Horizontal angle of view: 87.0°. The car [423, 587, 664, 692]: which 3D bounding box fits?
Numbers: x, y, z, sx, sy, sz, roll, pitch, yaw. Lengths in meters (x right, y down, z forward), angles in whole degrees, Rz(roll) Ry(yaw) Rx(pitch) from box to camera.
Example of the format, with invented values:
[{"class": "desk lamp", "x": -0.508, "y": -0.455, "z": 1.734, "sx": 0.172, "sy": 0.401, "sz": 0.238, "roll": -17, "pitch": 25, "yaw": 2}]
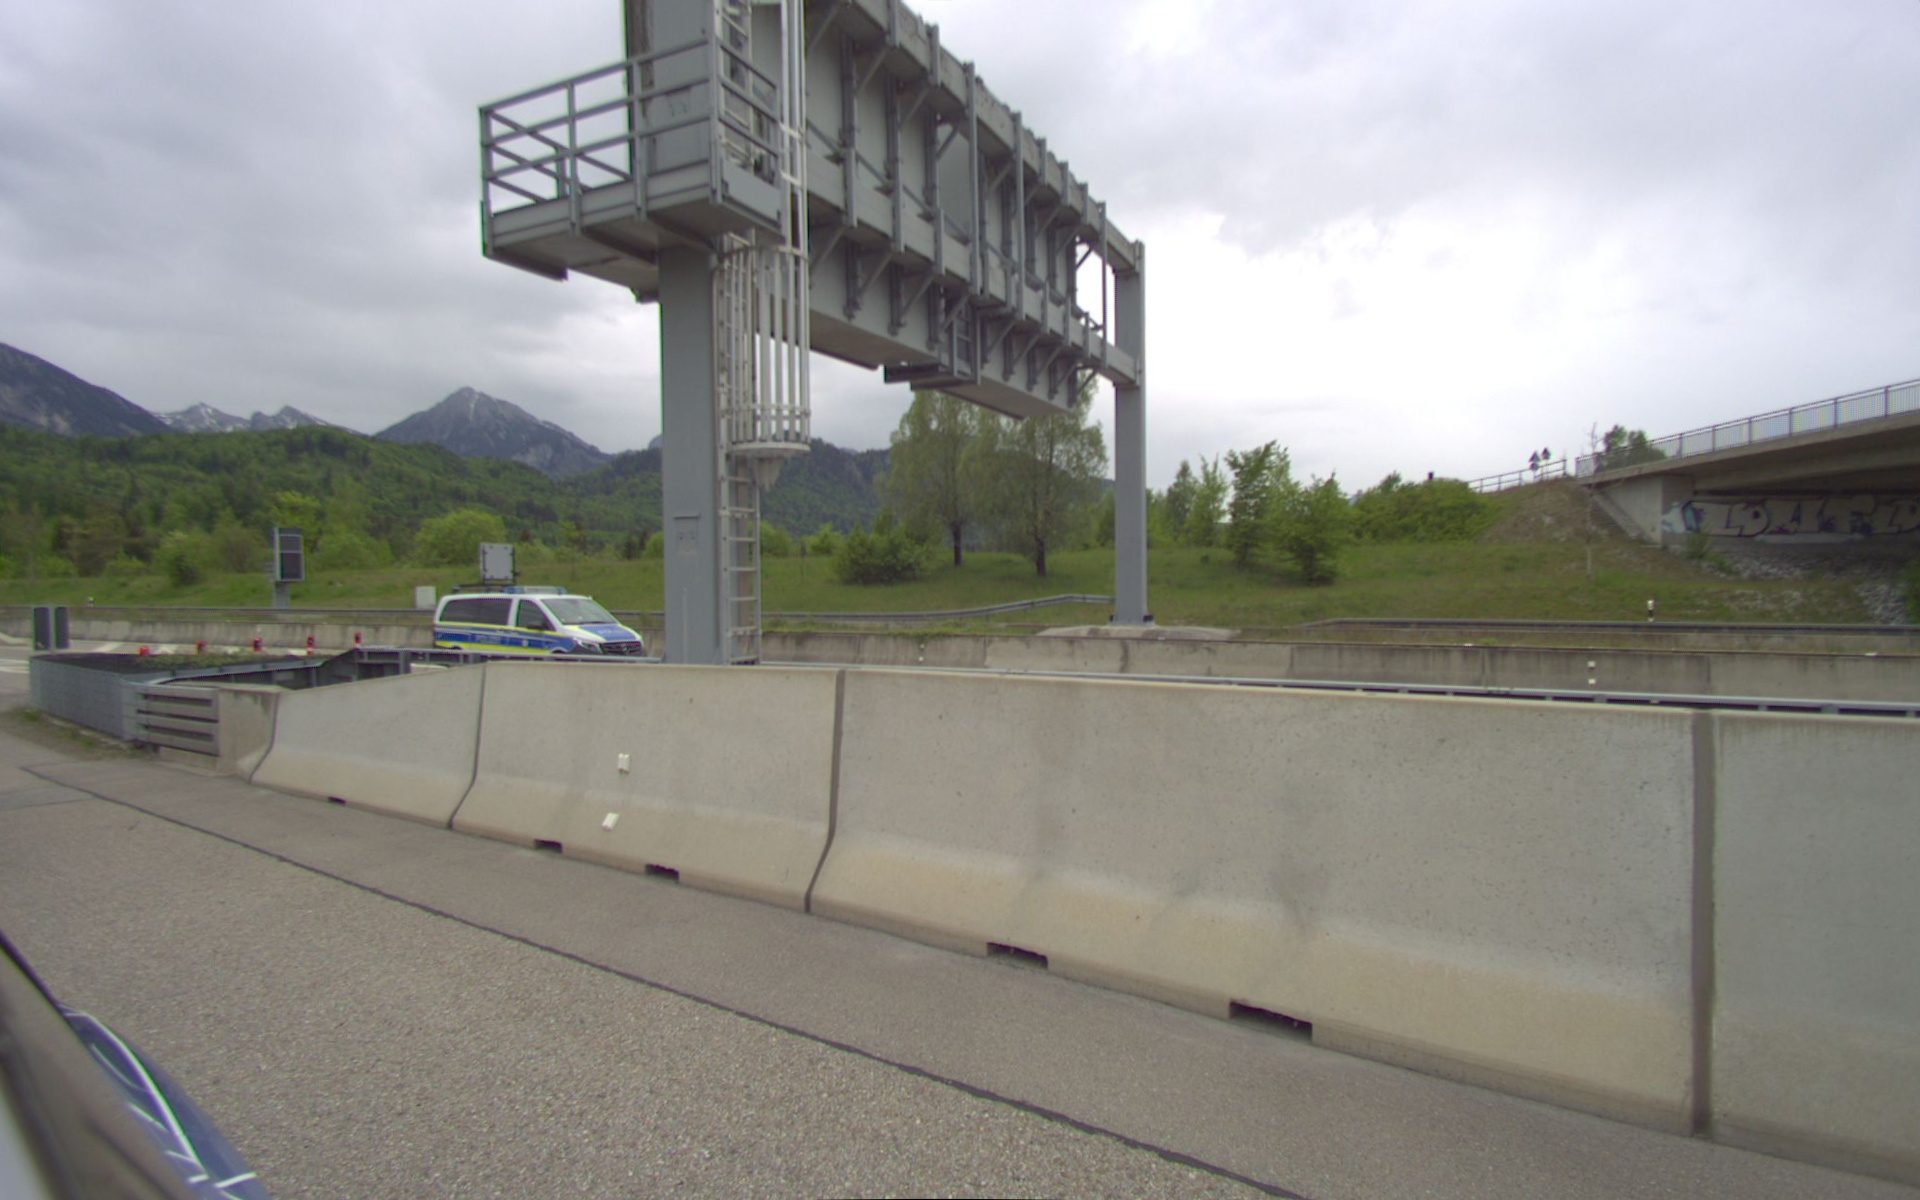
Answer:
[{"class": "car", "x": -8.962, "y": 0.775, "z": 21.695, "sx": 5.028, "sy": 2.029, "sz": 2.085, "roll": 0, "pitch": -1, "yaw": 28}]
